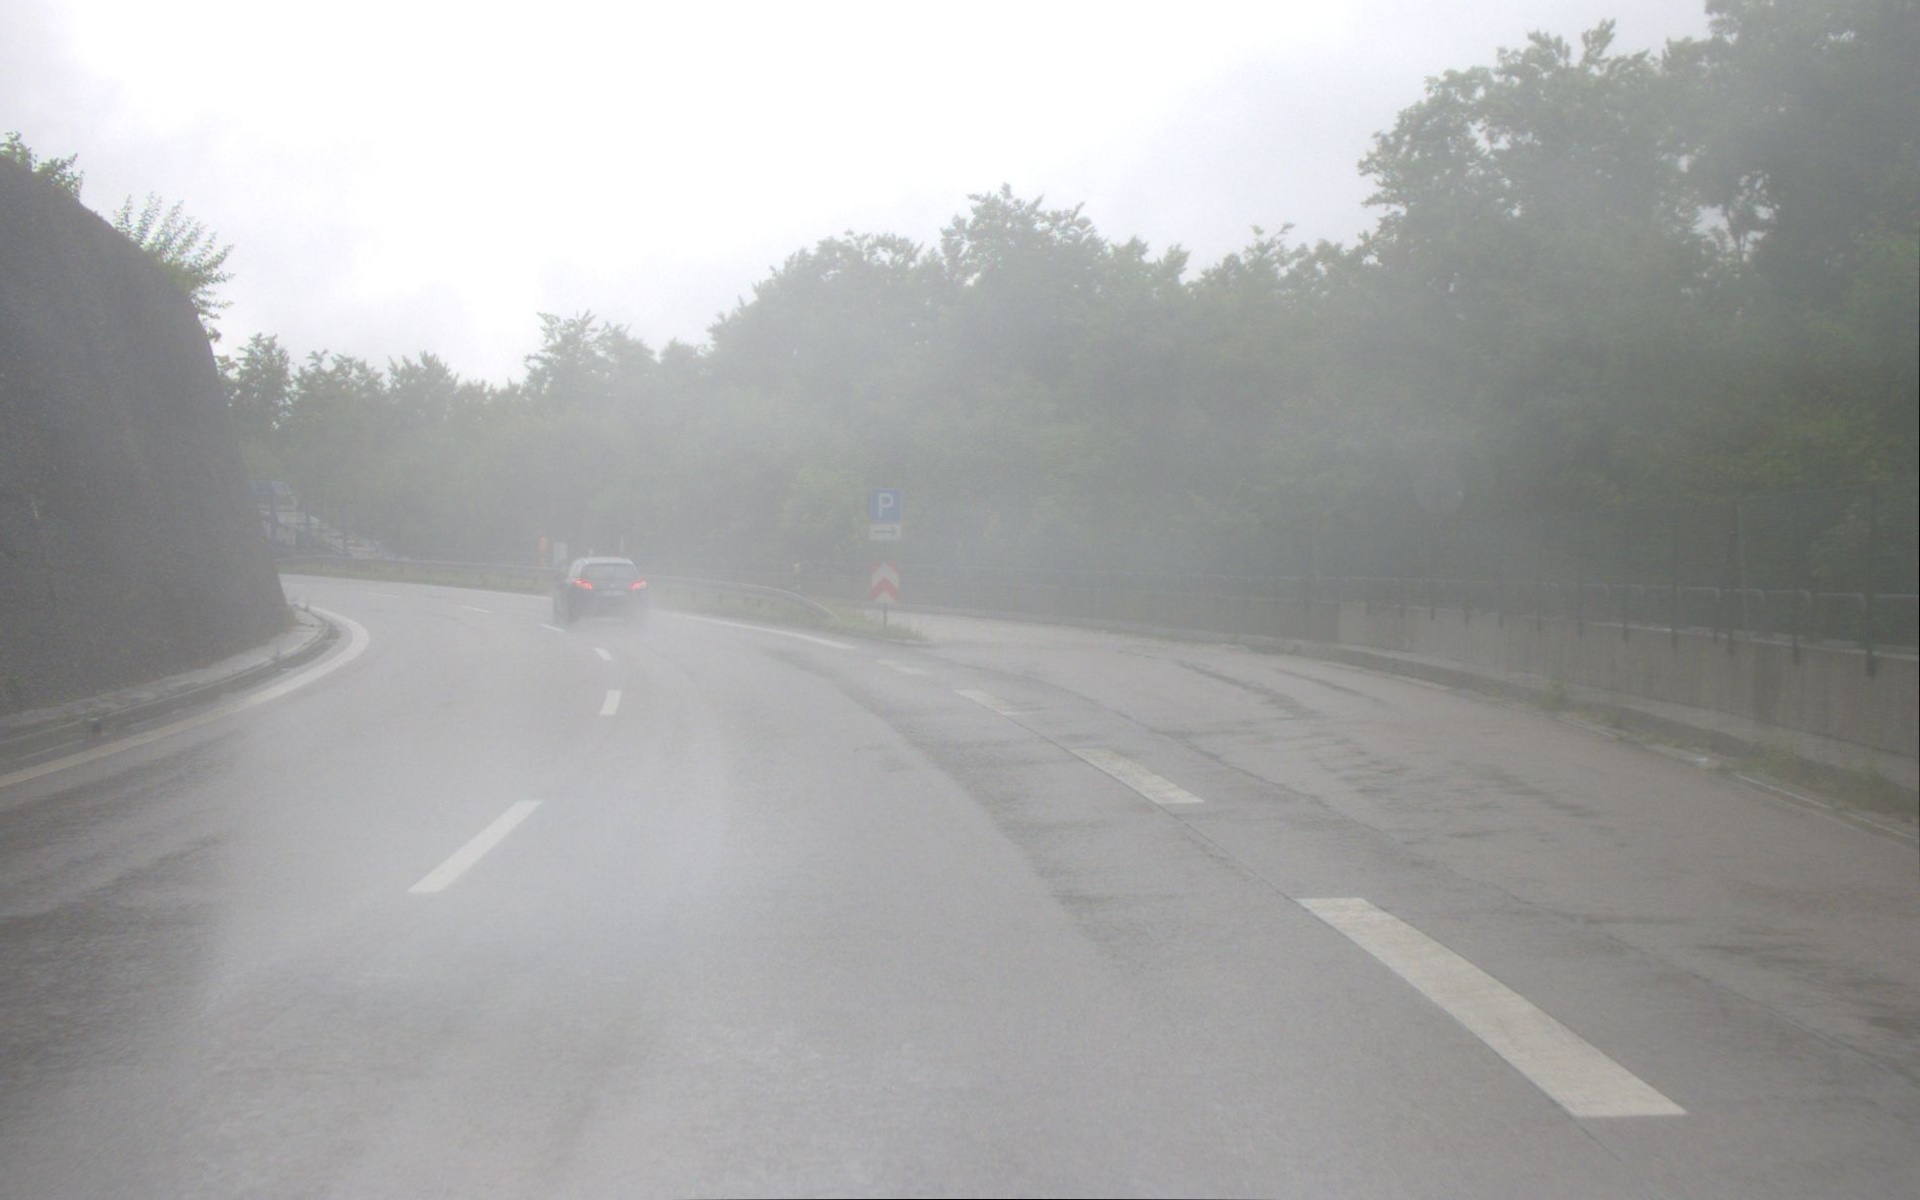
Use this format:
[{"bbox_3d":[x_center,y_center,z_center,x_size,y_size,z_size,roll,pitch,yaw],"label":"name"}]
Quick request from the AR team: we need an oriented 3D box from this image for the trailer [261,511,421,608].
[{"bbox_3d":[-28.459,-1.928,157.357,2.892,4.230,14.700,1,1,-28],"label":"trailer"}]

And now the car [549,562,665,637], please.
[{"bbox_3d":[-7.818,-0.029,75.853,1.903,1.494,4.001,3,0,-14],"label":"car"}]
